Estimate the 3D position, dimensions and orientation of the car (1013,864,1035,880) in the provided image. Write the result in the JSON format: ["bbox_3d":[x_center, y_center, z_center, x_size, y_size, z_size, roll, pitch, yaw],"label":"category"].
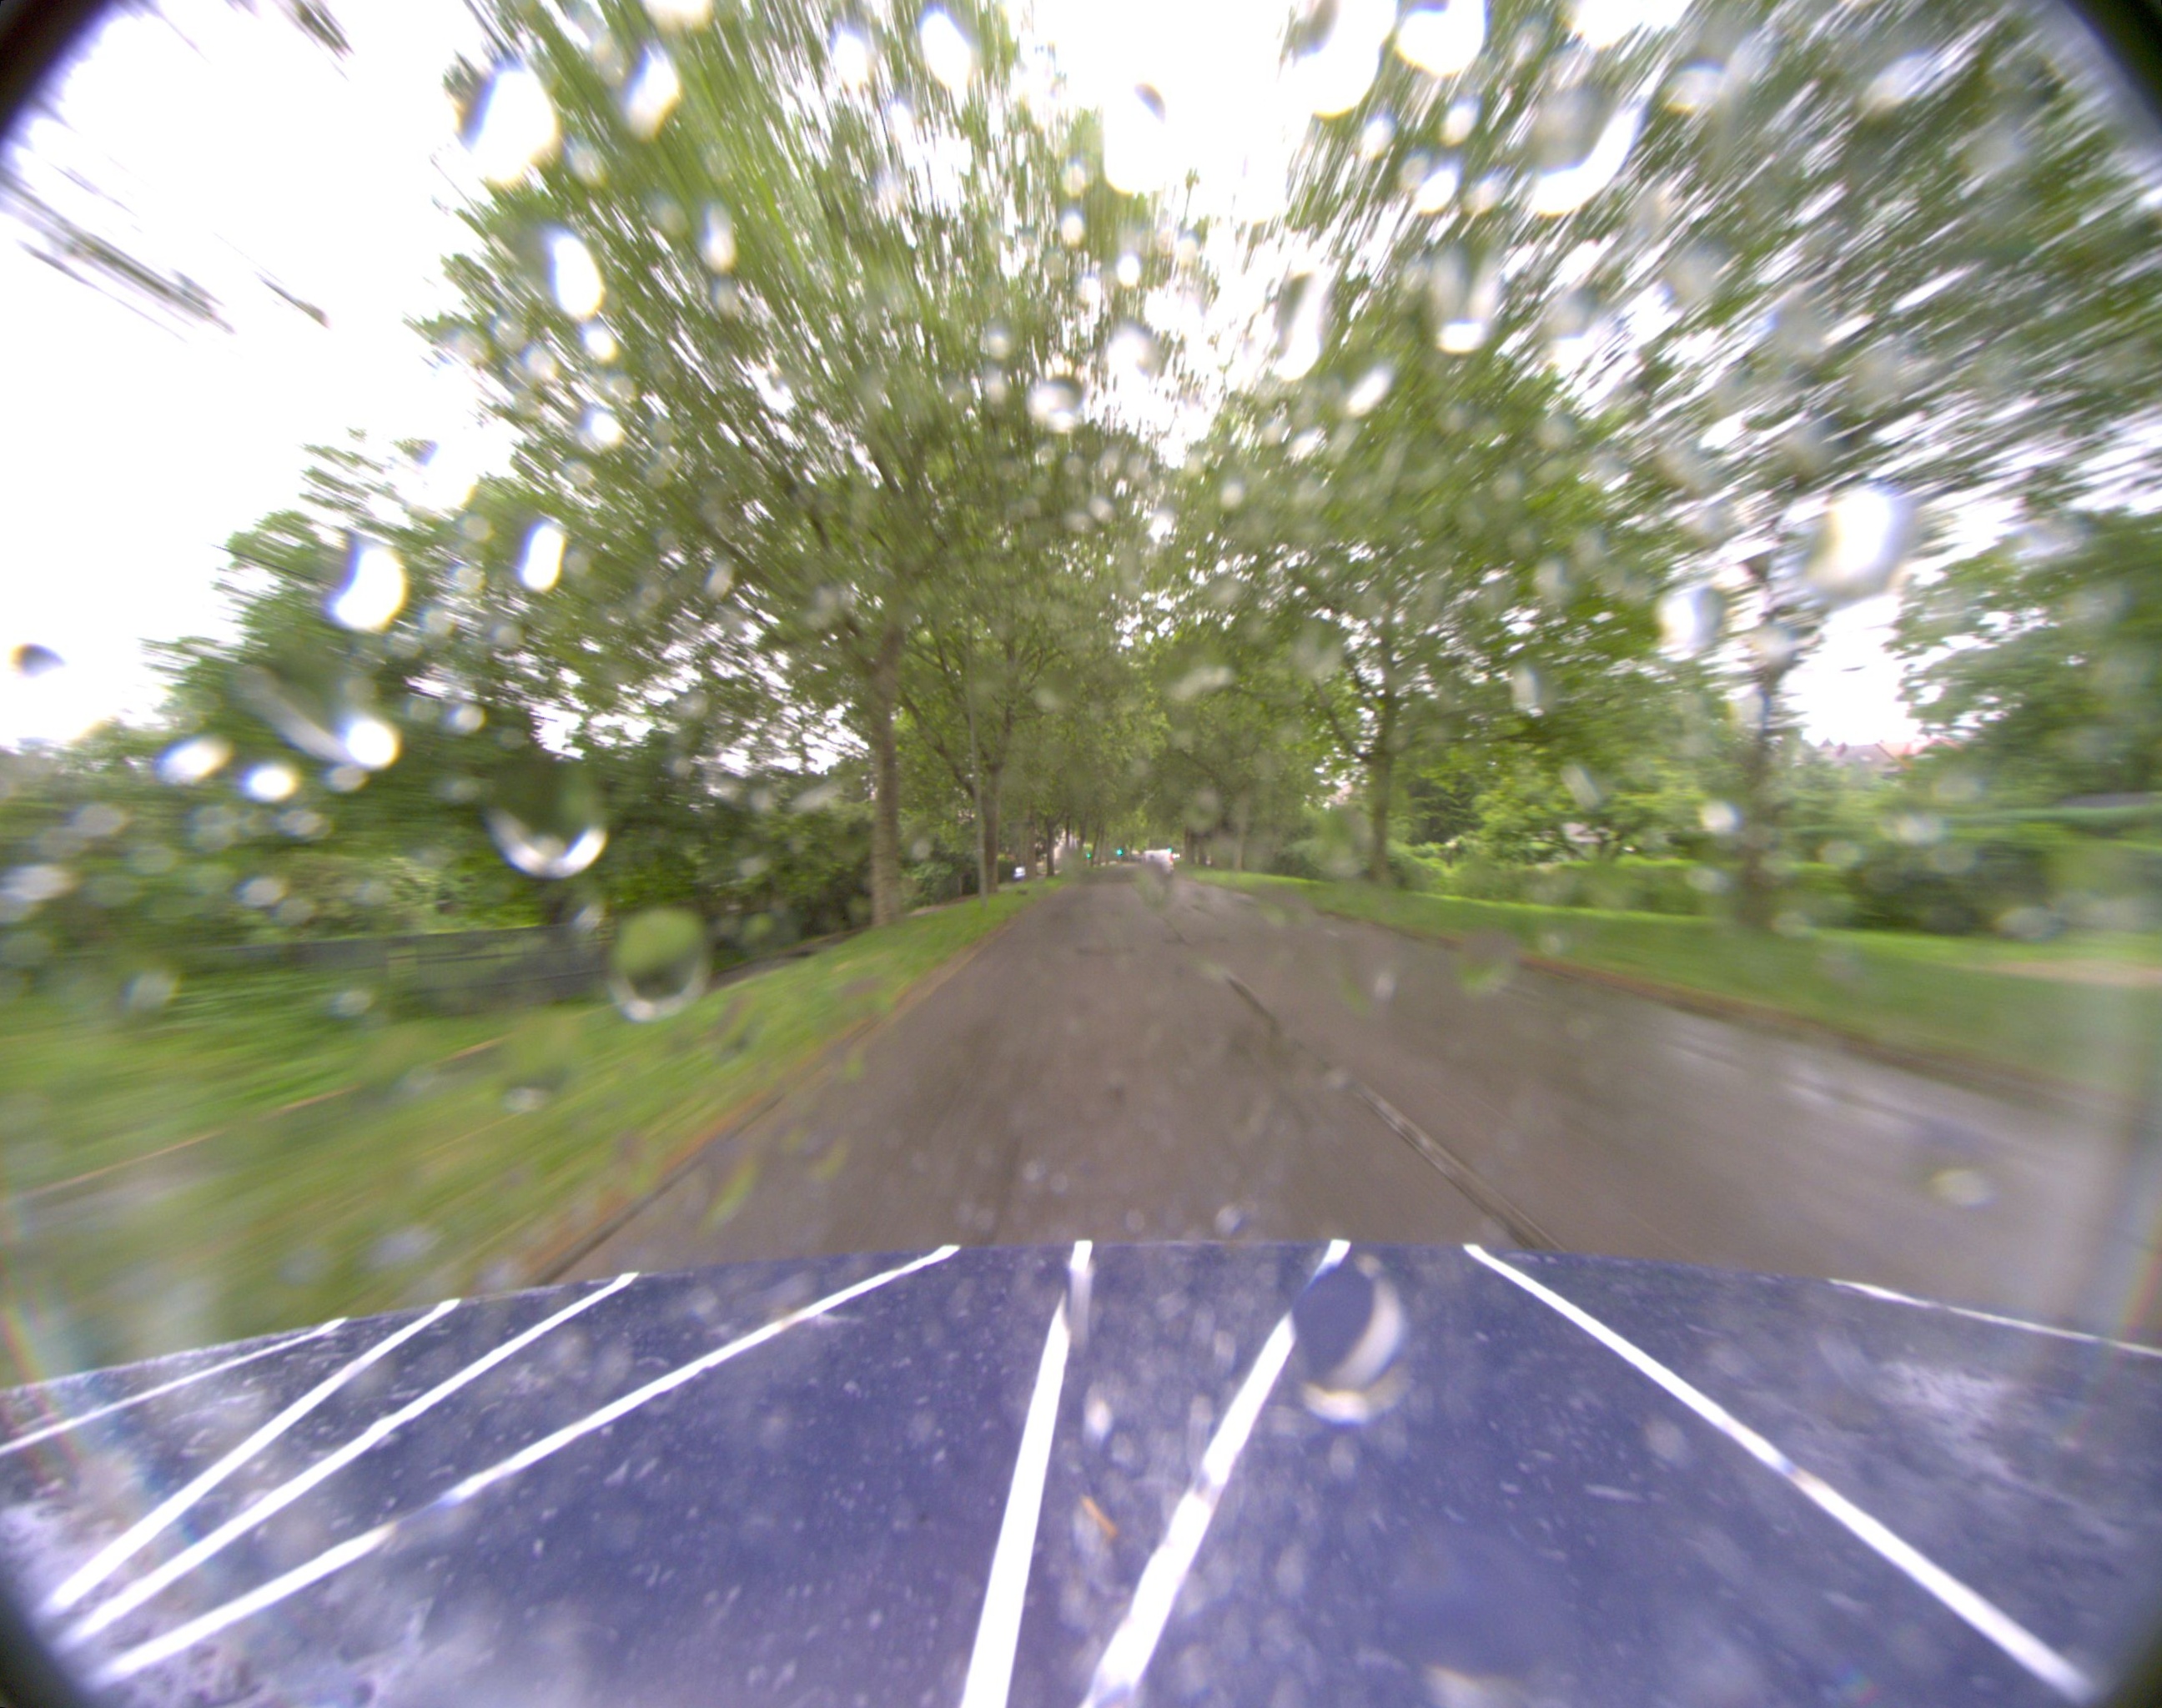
[{"bbox_3d":[-6.024,1.894,80.382,1.800,1.317,4.000,-7,0,1],"label":"car"}]

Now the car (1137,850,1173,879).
[{"bbox_3d":[4.587,0.617,47.761,1.867,1.739,5.015,-1,0,1],"label":"car"}]

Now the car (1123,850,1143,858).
[{"bbox_3d":[11.968,-0.009,175.188,4.262,1.845,1.892,-3,0,0],"label":"car"}]
